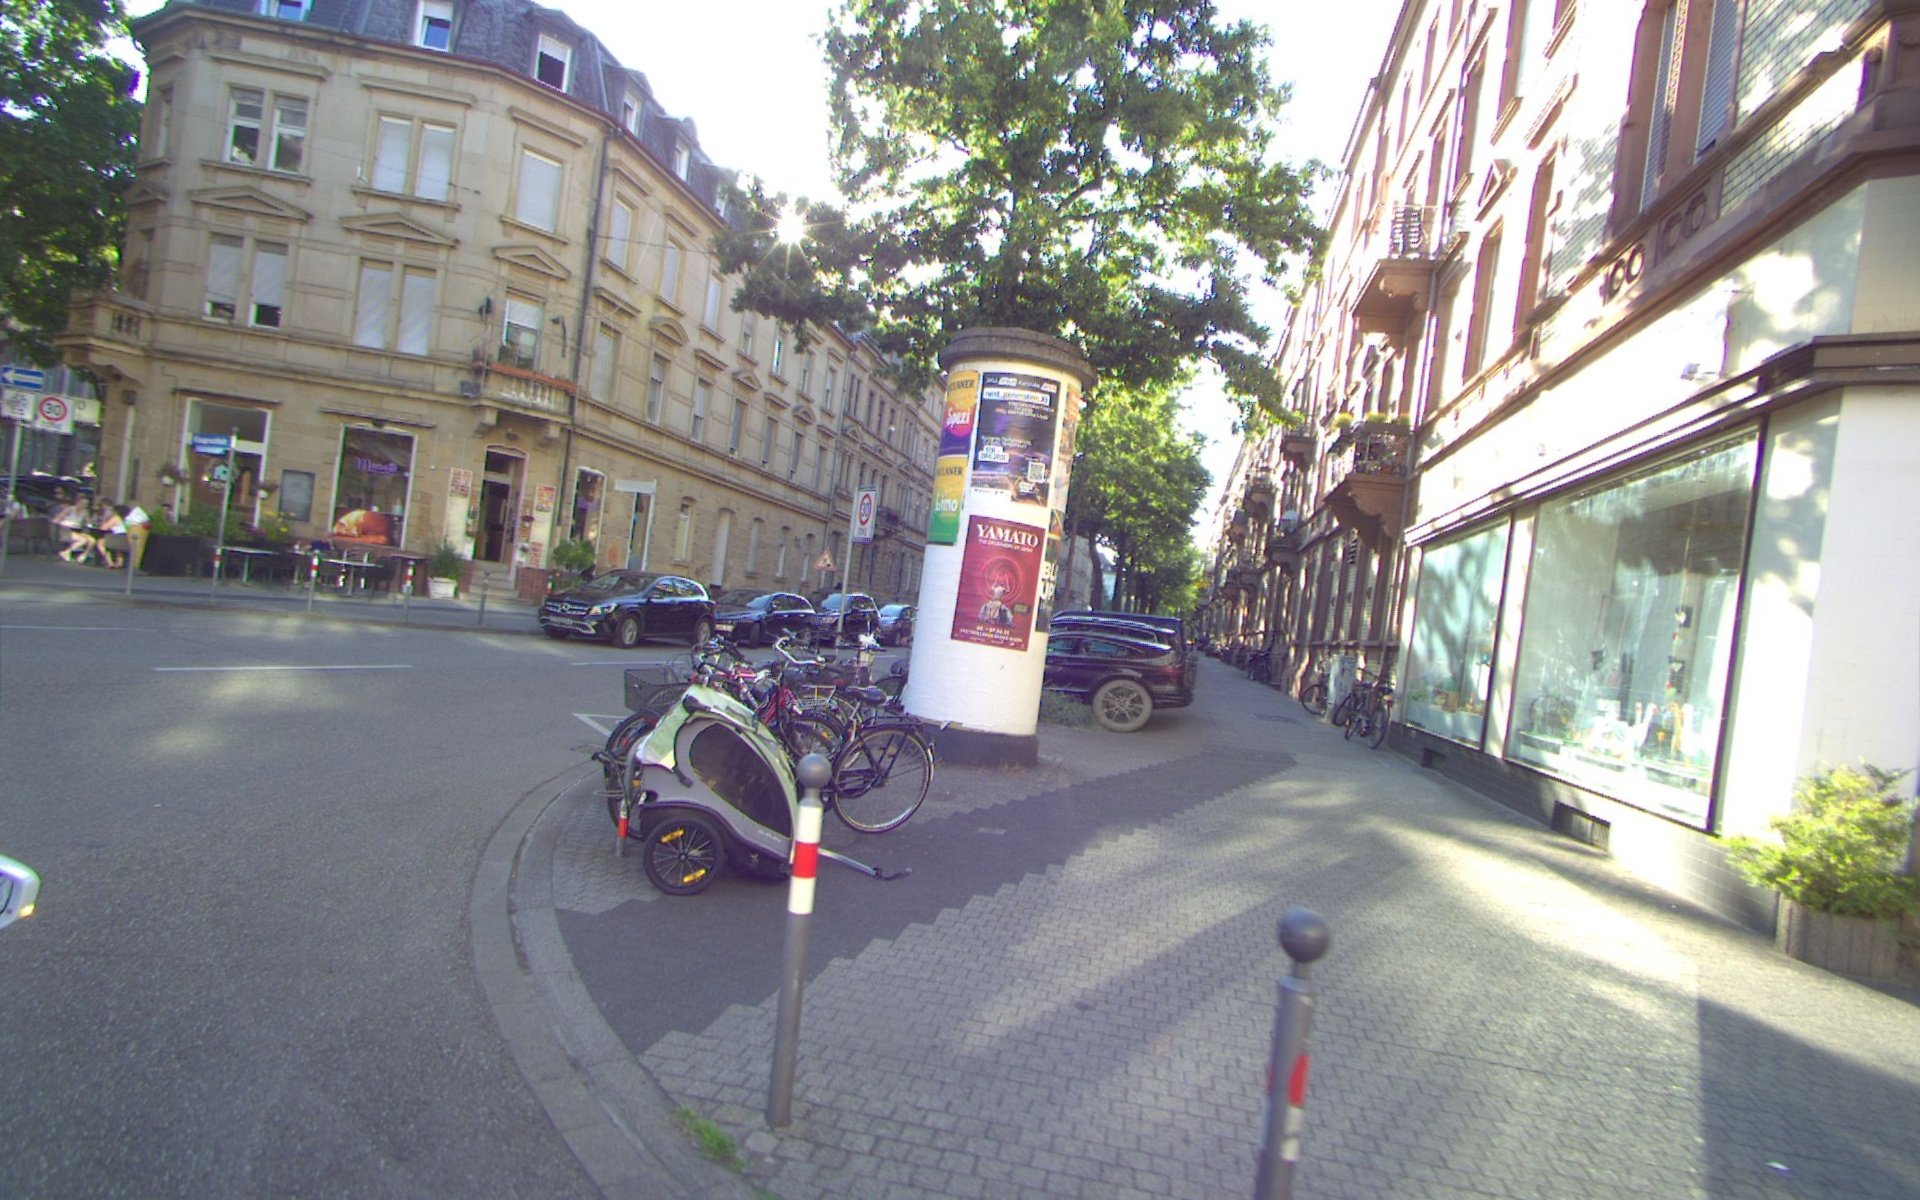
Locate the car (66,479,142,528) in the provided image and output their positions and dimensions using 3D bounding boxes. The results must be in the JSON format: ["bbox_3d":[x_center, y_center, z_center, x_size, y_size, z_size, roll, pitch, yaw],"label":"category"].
[{"bbox_3d":[-45.481,-5.082,53.527,1.788,2.110,3.732,7,0,-22],"label":"car"}]

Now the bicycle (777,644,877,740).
[{"bbox_3d":[-1.404,0.971,10.865,0.348,0.938,1.525,5,-1,19],"label":"bicycle"}]

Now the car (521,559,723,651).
[{"bbox_3d":[-6.702,0.184,20.485,1.731,1.505,4.141,7,-1,16],"label":"car"}]

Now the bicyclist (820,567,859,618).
[{"bbox_3d":[-4.753,-0.285,39.653,0.980,1.812,1.208,7,0,13],"label":"bicyclist"}]

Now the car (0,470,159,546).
[{"bbox_3d":[-27.475,-2.838,31.184,3.970,1.704,1.978,8,-1,-39],"label":"car"}]

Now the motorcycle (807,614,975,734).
[{"bbox_3d":[-0.844,0.892,12.456,1.867,1.249,0.686,5,0,13],"label":"motorcycle"}]

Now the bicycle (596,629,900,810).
[{"bbox_3d":[-1.411,0.836,6.874,1.913,1.107,0.422,6,-1,-27],"label":"bicycle"}]

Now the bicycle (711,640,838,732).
[{"bbox_3d":[-2.035,0.964,11.195,0.350,0.939,1.406,4,-1,42],"label":"bicycle"}]

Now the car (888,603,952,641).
[{"bbox_3d":[-1.776,1.045,46.421,1.730,1.519,4.061,7,0,14],"label":"car"}]

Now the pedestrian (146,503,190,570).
[{"bbox_3d":[-17.320,-1.374,22.004,0.473,1.384,0.434,7,1,4],"label":"pedestrian"}]

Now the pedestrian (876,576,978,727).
[{"bbox_3d":[-0.446,0.713,14.163,1.097,1.922,0.843,7,0,7],"label":"pedestrian"}]

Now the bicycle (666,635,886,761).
[{"bbox_3d":[-1.708,0.913,9.454,1.903,1.000,0.496,5,-1,-10],"label":"bicycle"}]

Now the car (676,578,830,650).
[{"bbox_3d":[-5.114,0.425,25.553,1.731,1.469,4.552,7,-1,17],"label":"car"}]

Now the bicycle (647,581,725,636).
[{"bbox_3d":[-7.196,0.220,26.428,1.838,1.142,0.529,9,0,15],"label":"bicycle"}]

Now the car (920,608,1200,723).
[{"bbox_3d":[1.848,1.137,18.166,4.709,1.430,1.852,6,-1,14],"label":"car"}]

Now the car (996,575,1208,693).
[{"bbox_3d":[3.638,0.854,25.751,4.941,2.242,1.994,8,0,11],"label":"car"}]

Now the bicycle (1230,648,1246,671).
[{"bbox_3d":[13.882,2.965,50.259,0.544,1.013,1.894,5,-1,12],"label":"bicycle"}]

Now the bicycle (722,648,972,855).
[{"bbox_3d":[-0.665,0.911,6.305,0.567,1.107,1.469,4,-1,43],"label":"bicycle"}]

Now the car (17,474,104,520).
[{"bbox_3d":[-43.390,-4.939,48.637,1.788,1.704,3.733,8,0,-22],"label":"car"}]

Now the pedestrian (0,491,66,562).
[{"bbox_3d":[-18.621,-1.475,19.978,1.005,1.264,0.749,7,1,9],"label":"pedestrian"}]

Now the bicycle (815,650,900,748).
[{"bbox_3d":[-1.054,1.012,10.658,0.348,0.938,1.526,5,-1,13],"label":"bicycle"}]

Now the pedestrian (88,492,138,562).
[{"bbox_3d":[-18.926,-1.626,22.483,0.559,1.449,0.482,7,1,1],"label":"pedestrian"}]

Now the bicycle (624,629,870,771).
[{"bbox_3d":[-1.791,0.867,8.560,1.911,1.065,0.500,6,-1,-25],"label":"bicycle"}]

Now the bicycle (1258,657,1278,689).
[{"bbox_3d":[10.375,2.452,33.924,0.398,0.974,1.868,4,-1,12],"label":"bicycle"}]

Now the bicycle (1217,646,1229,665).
[{"bbox_3d":[15.456,3.262,59.172,0.544,1.013,1.894,5,-1,12],"label":"bicycle"}]

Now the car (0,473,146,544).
[{"bbox_3d":[-29.465,-3.015,32.969,1.972,1.704,3.982,7,-1,41],"label":"car"}]

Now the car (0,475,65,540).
[{"bbox_3d":[-27.115,-2.727,27.307,1.775,1.580,3.825,7,-1,36],"label":"car"}]

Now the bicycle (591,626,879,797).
[{"bbox_3d":[-1.589,0.826,7.261,1.913,1.107,0.422,6,-1,-27],"label":"bicycle"}]

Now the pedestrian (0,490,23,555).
[{"bbox_3d":[-19.497,-1.586,20.115,0.693,1.264,0.749,7,1,10],"label":"pedestrian"}]

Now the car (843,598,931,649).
[{"bbox_3d":[-2.493,0.863,35.445,1.731,1.519,4.061,7,0,15],"label":"car"}]

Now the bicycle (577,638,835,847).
[{"bbox_3d":[-1.495,0.837,6.135,0.419,1.107,1.470,4,-1,42],"label":"bicycle"}]

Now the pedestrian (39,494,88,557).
[{"bbox_3d":[-19.422,-1.603,21.804,0.473,1.264,0.510,7,1,10],"label":"pedestrian"}]

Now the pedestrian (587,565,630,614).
[{"bbox_3d":[-9.711,-0.283,27.784,0.714,1.228,0.757,7,0,10],"label":"pedestrian"}]

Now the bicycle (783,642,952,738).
[{"bbox_3d":[-1.092,1.051,11.902,1.899,0.939,0.355,5,-1,12],"label":"bicycle"}]

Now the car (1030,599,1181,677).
[{"bbox_3d":[4.772,1.240,33.129,4.600,2.058,1.880,6,0,9],"label":"car"}]

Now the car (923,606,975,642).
[{"bbox_3d":[-0.515,1.235,50.818,1.567,1.493,3.701,9,0,14],"label":"car"}]

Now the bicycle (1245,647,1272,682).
[{"bbox_3d":[11.035,2.373,37.219,0.660,1.185,2.594,5,-1,13],"label":"bicycle"}]

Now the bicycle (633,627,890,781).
[{"bbox_3d":[-1.576,0.854,8.124,1.911,1.107,0.423,6,-1,-25],"label":"bicycle"}]

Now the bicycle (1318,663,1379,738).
[{"bbox_3d":[7.164,1.818,18.650,0.660,1.185,2.594,5,-1,15],"label":"bicycle"}]

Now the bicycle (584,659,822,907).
[{"bbox_3d":[-1.275,0.906,5.160,0.983,1.039,0.737,8,0,-10],"label":"bicycle"}]

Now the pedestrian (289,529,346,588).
[{"bbox_3d":[-14.573,-0.928,22.842,0.715,1.228,0.756,7,0,-7],"label":"pedestrian"}]

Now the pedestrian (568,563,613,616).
[{"bbox_3d":[-9.766,-0.272,26.615,0.714,1.274,0.757,7,0,10],"label":"pedestrian"}]

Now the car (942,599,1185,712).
[{"bbox_3d":[2.161,1.102,20.630,4.613,1.699,1.852,6,-1,14],"label":"car"}]

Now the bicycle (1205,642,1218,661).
[{"bbox_3d":[17.057,3.468,68.202,0.660,1.185,2.594,5,-1,13],"label":"bicycle"}]

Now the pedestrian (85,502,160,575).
[{"bbox_3d":[-16.577,-1.203,19.928,0.731,1.305,0.743,7,0,2],"label":"pedestrian"}]

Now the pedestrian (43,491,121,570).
[{"bbox_3d":[-17.384,-1.364,19.941,0.743,1.428,0.727,7,0,0],"label":"pedestrian"}]

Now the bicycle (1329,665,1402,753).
[{"bbox_3d":[6.452,1.691,16.124,0.660,1.185,2.594,5,-1,15],"label":"bicycle"}]

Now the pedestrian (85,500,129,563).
[{"bbox_3d":[-18.450,-1.475,21.755,0.473,1.264,0.434,7,1,10],"label":"pedestrian"}]

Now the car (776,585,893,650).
[{"bbox_3d":[-3.674,0.581,30.366,1.731,1.619,4.552,7,0,16],"label":"car"}]

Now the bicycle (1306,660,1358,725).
[{"bbox_3d":[7.790,1.904,21.134,0.660,1.185,2.594,5,-1,15],"label":"bicycle"}]
